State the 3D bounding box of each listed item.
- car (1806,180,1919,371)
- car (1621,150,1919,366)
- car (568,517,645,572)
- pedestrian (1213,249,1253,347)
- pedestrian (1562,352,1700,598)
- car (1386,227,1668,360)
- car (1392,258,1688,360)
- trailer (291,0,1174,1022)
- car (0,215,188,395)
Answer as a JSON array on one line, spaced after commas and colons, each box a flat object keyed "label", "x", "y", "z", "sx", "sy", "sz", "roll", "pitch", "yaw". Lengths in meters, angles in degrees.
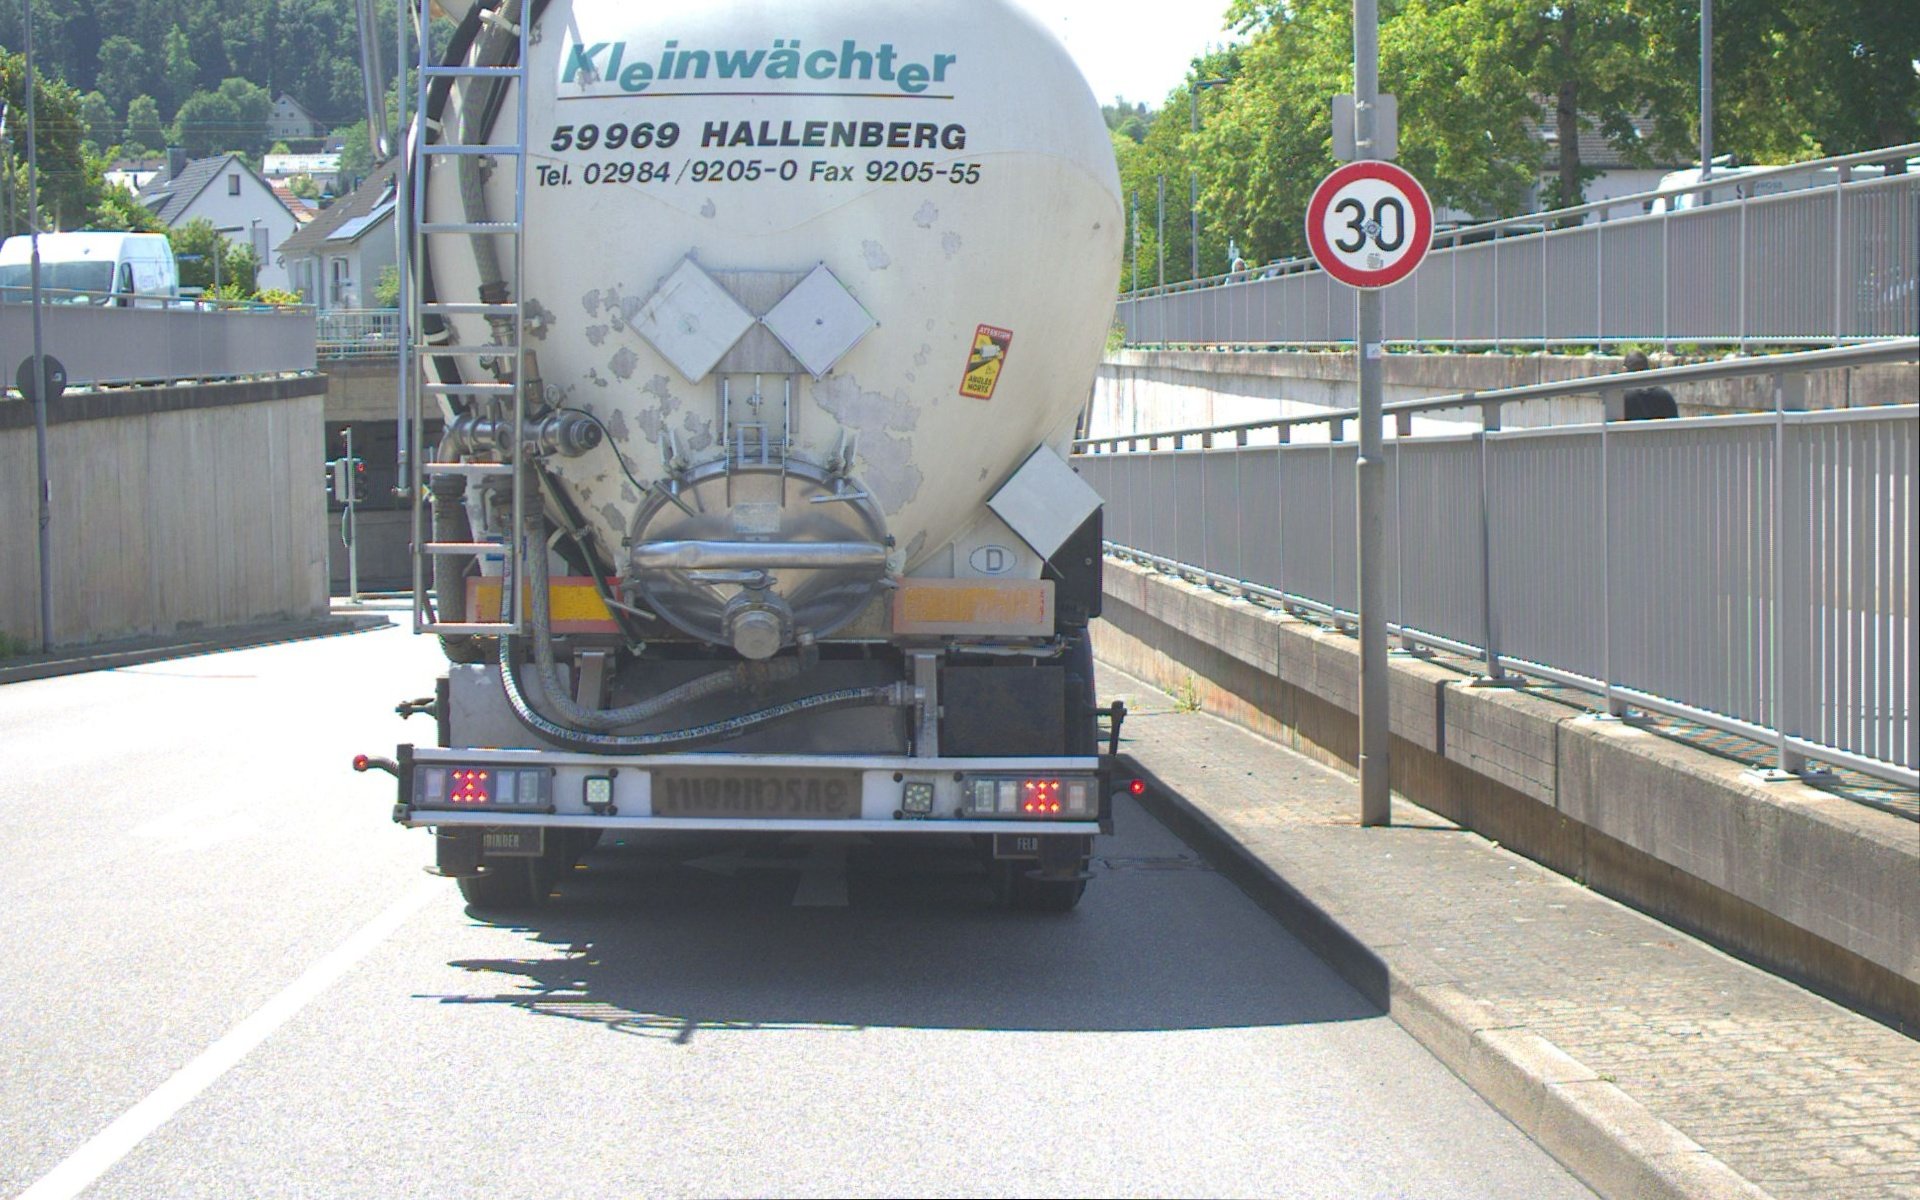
[{"label": "car", "x": 9.244, "y": -2.642, "z": 27.941, "sx": 4.285, "sy": 1.493, "sz": 1.749, "roll": -1, "pitch": 4, "yaw": 0}, {"label": "car", "x": 9.379, "y": -3.418, "z": 34.435, "sx": 5.112, "sy": 2.056, "sz": 1.989, "roll": -1, "pitch": 4, "yaw": 0}, {"label": "car", "x": -9.800, "y": -1.534, "z": 95.500, "sx": 1.760, "sy": 1.484, "sz": 4.369, "roll": 0, "pitch": 1, "yaw": -1}, {"label": "pedestrian", "x": 4.987, "y": -5.519, "z": 62.843, "sx": 0.673, "sy": 1.773, "sz": 0.594, "roll": -1, "pitch": 4, "yaw": 0}, {"label": "pedestrian", "x": 4.944, "y": -0.919, "z": 25.360, "sx": 0.836, "sy": 1.775, "sz": 0.788, "roll": -1, "pitch": 2, "yaw": -1}, {"label": "car", "x": 8.432, "y": -4.561, "z": 51.320, "sx": 3.905, "sy": 1.878, "sz": 1.686, "roll": -1, "pitch": 4, "yaw": 0}, {"label": "car", "x": 8.190, "y": -4.114, "z": 48.732, "sx": 3.905, "sy": 1.362, "sz": 1.686, "roll": -1, "pitch": 4, "yaw": 0}, {"label": "trailer", "x": -0.817, "y": -0.846, "z": 17.427, "sx": 2.735, "sy": 4.050, "sz": 13.314, "roll": 1, "pitch": 1, "yaw": -1}, {"label": "car", "x": -13.146, "y": -4.395, "z": 51.644, "sx": 2.065, "sy": 2.527, "sz": 5.663, "roll": 1, "pitch": 4, "yaw": -2}]
